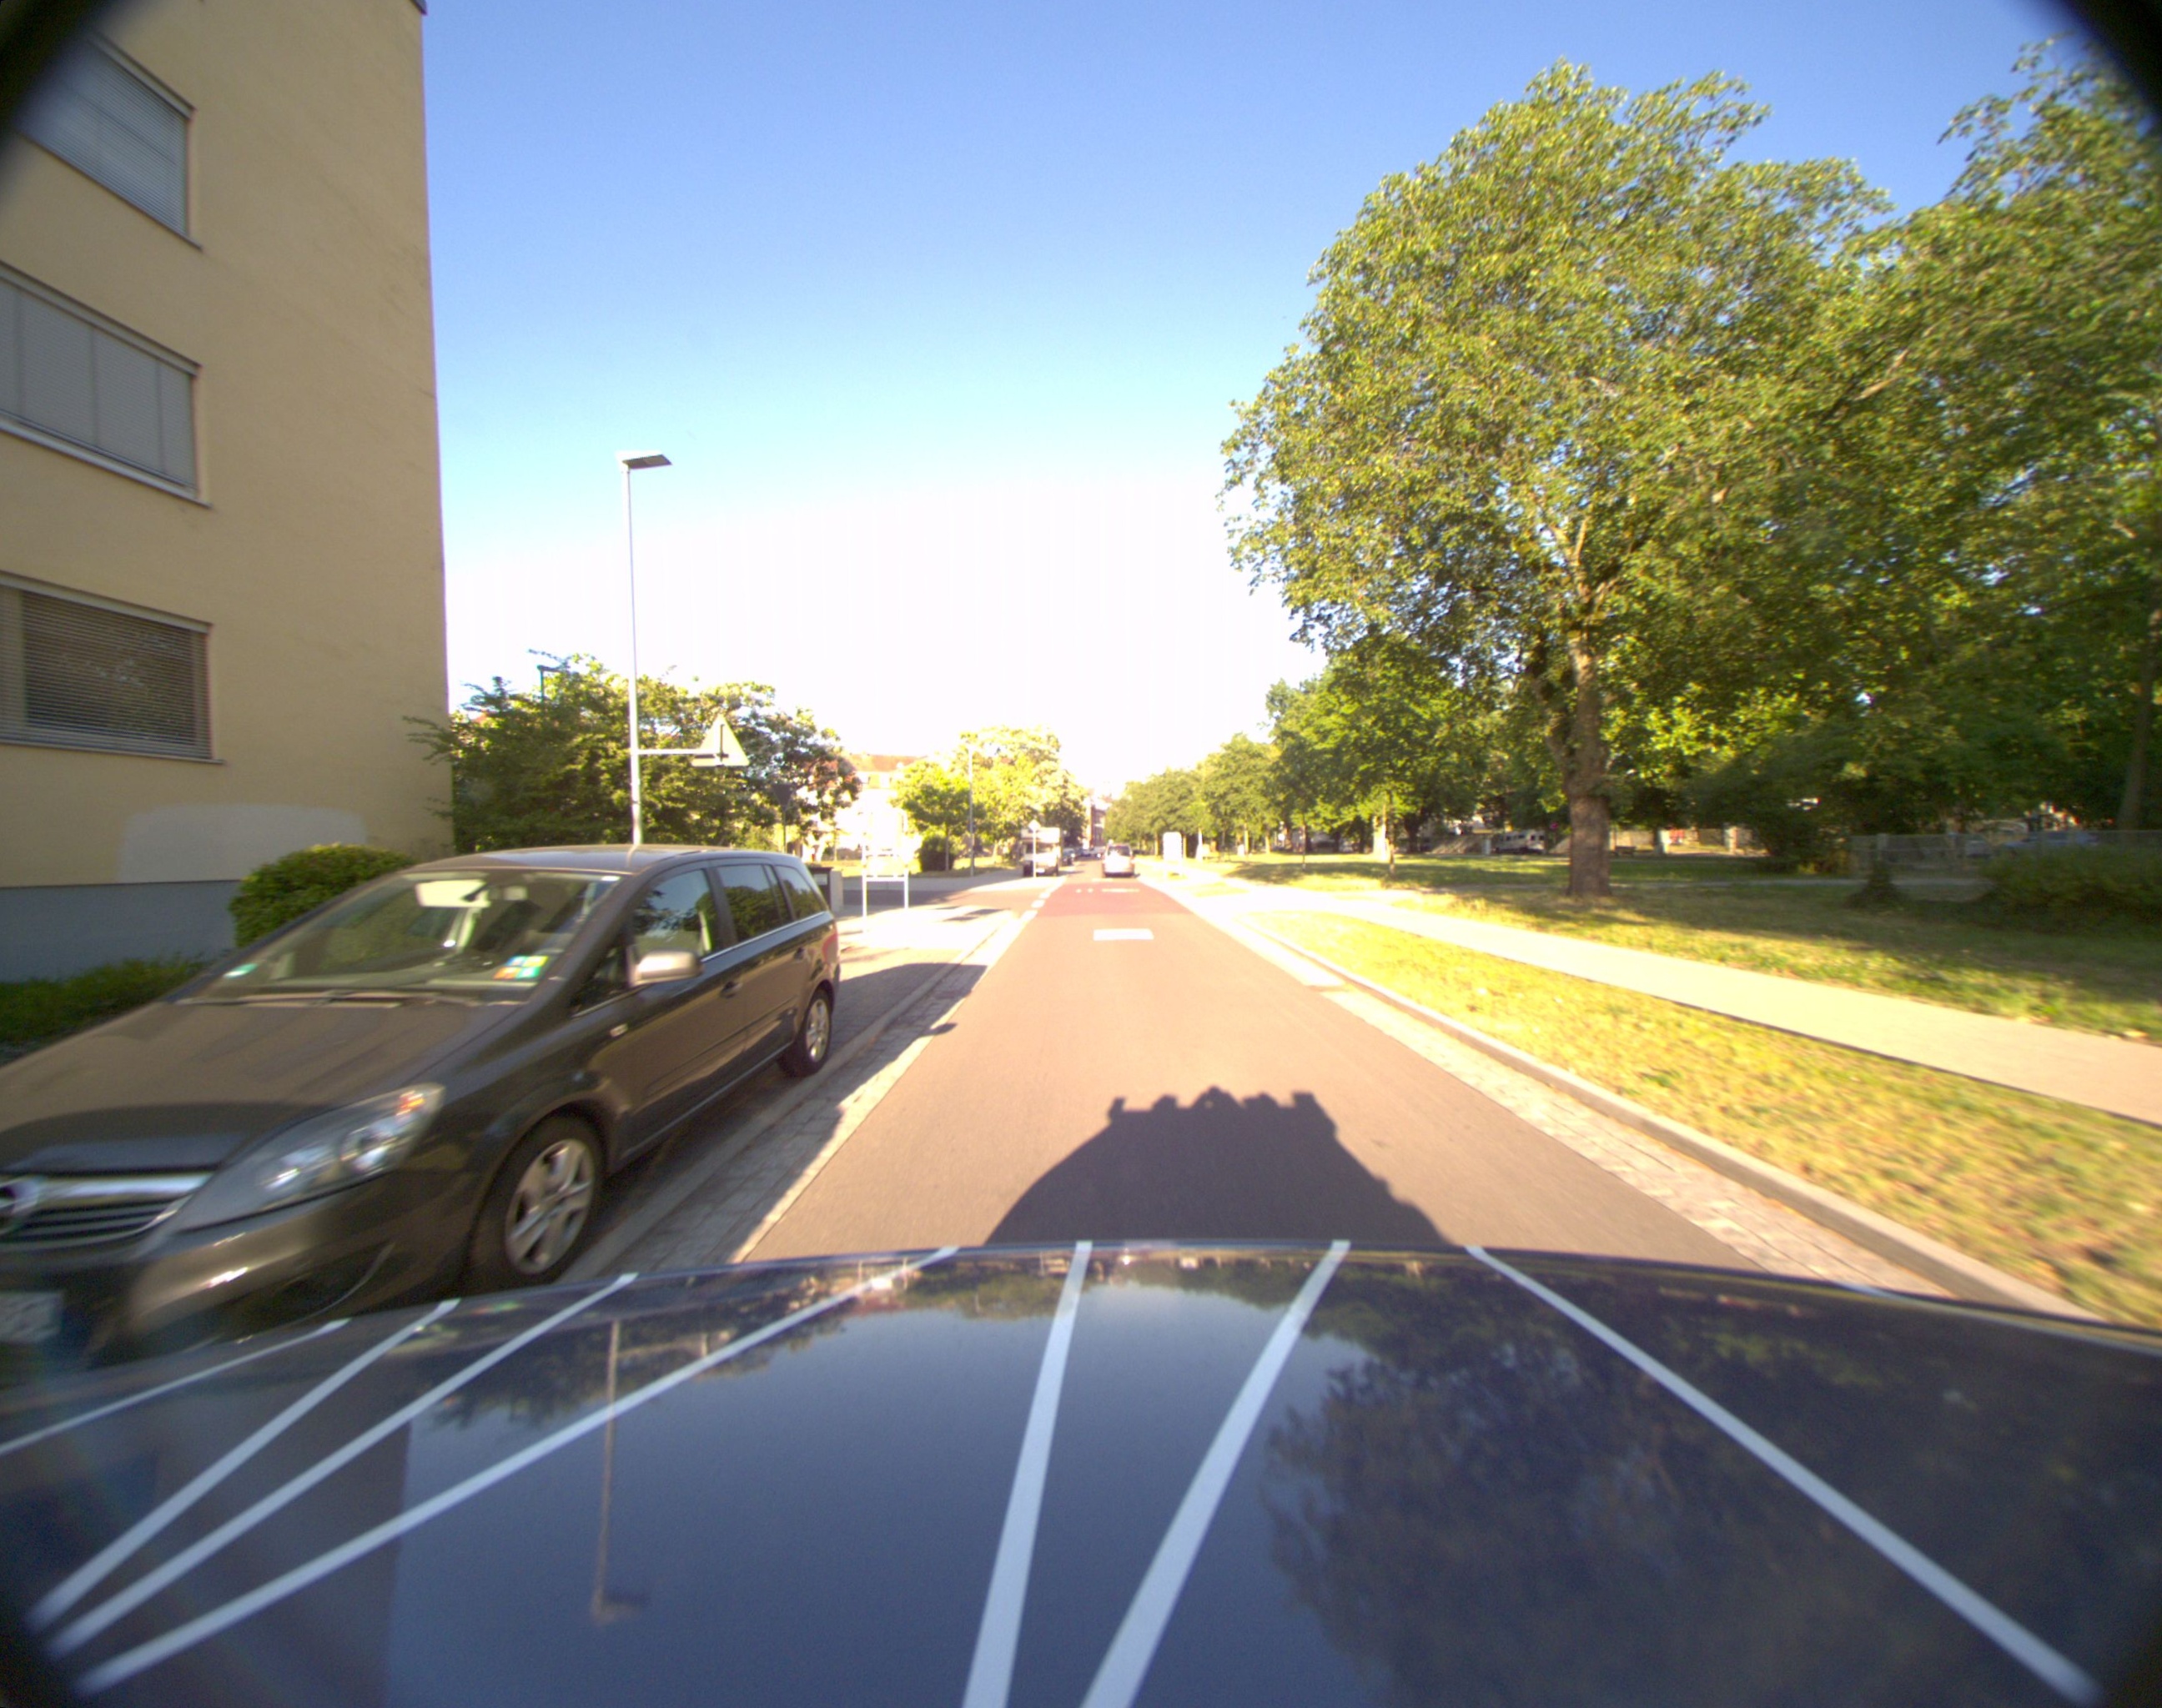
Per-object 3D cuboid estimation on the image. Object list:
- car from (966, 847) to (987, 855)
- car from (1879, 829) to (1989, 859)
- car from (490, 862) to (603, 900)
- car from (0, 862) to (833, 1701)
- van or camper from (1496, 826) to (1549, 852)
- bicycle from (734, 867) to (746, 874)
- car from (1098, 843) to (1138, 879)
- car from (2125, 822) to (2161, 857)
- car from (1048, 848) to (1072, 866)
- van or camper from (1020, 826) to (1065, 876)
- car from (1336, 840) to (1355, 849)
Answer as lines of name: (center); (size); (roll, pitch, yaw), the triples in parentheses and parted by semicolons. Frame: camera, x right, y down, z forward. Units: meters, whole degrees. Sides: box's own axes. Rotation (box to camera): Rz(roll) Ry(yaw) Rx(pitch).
car: (-19.971, -0.594, 145.075); (3.707, 1.490, 1.723); (-2, 1, -17)
car: (43.104, -0.496, 38.507); (1.526, 1.360, 3.649); (-2, 1, 1)
car: (-22.200, 1.111, 31.593); (3.992, 1.419, 1.729); (-2, -1, 18)
car: (-2.708, 0.892, 3.604); (1.714, 1.601, 4.168); (1, 1, 0)
van or camper: (43.703, -1.439, 75.423); (1.999, 2.425, 5.466); (-2, 1, -1)
bicycle: (-32.279, 1.557, 71.936); (0.907, 0.648, 0.438); (-3, 1, -38)
car: (1.968, 0.321, 41.366); (1.849, 1.837, 4.571); (0, 1, -1)
car: (42.707, -0.567, 28.483); (1.526, 1.360, 4.108); (-2, 1, 1)
car: (-1.898, 0.229, 69.643); (1.998, 1.501, 3.999); (-2, 1, 0)
van or camper: (-2.210, -0.239, 45.266); (2.427, 2.767, 5.951); (1, 1, 0)
car: (44.755, -1.610, 128.678); (1.796, 1.455, 3.999); (-2, 1, 0)
